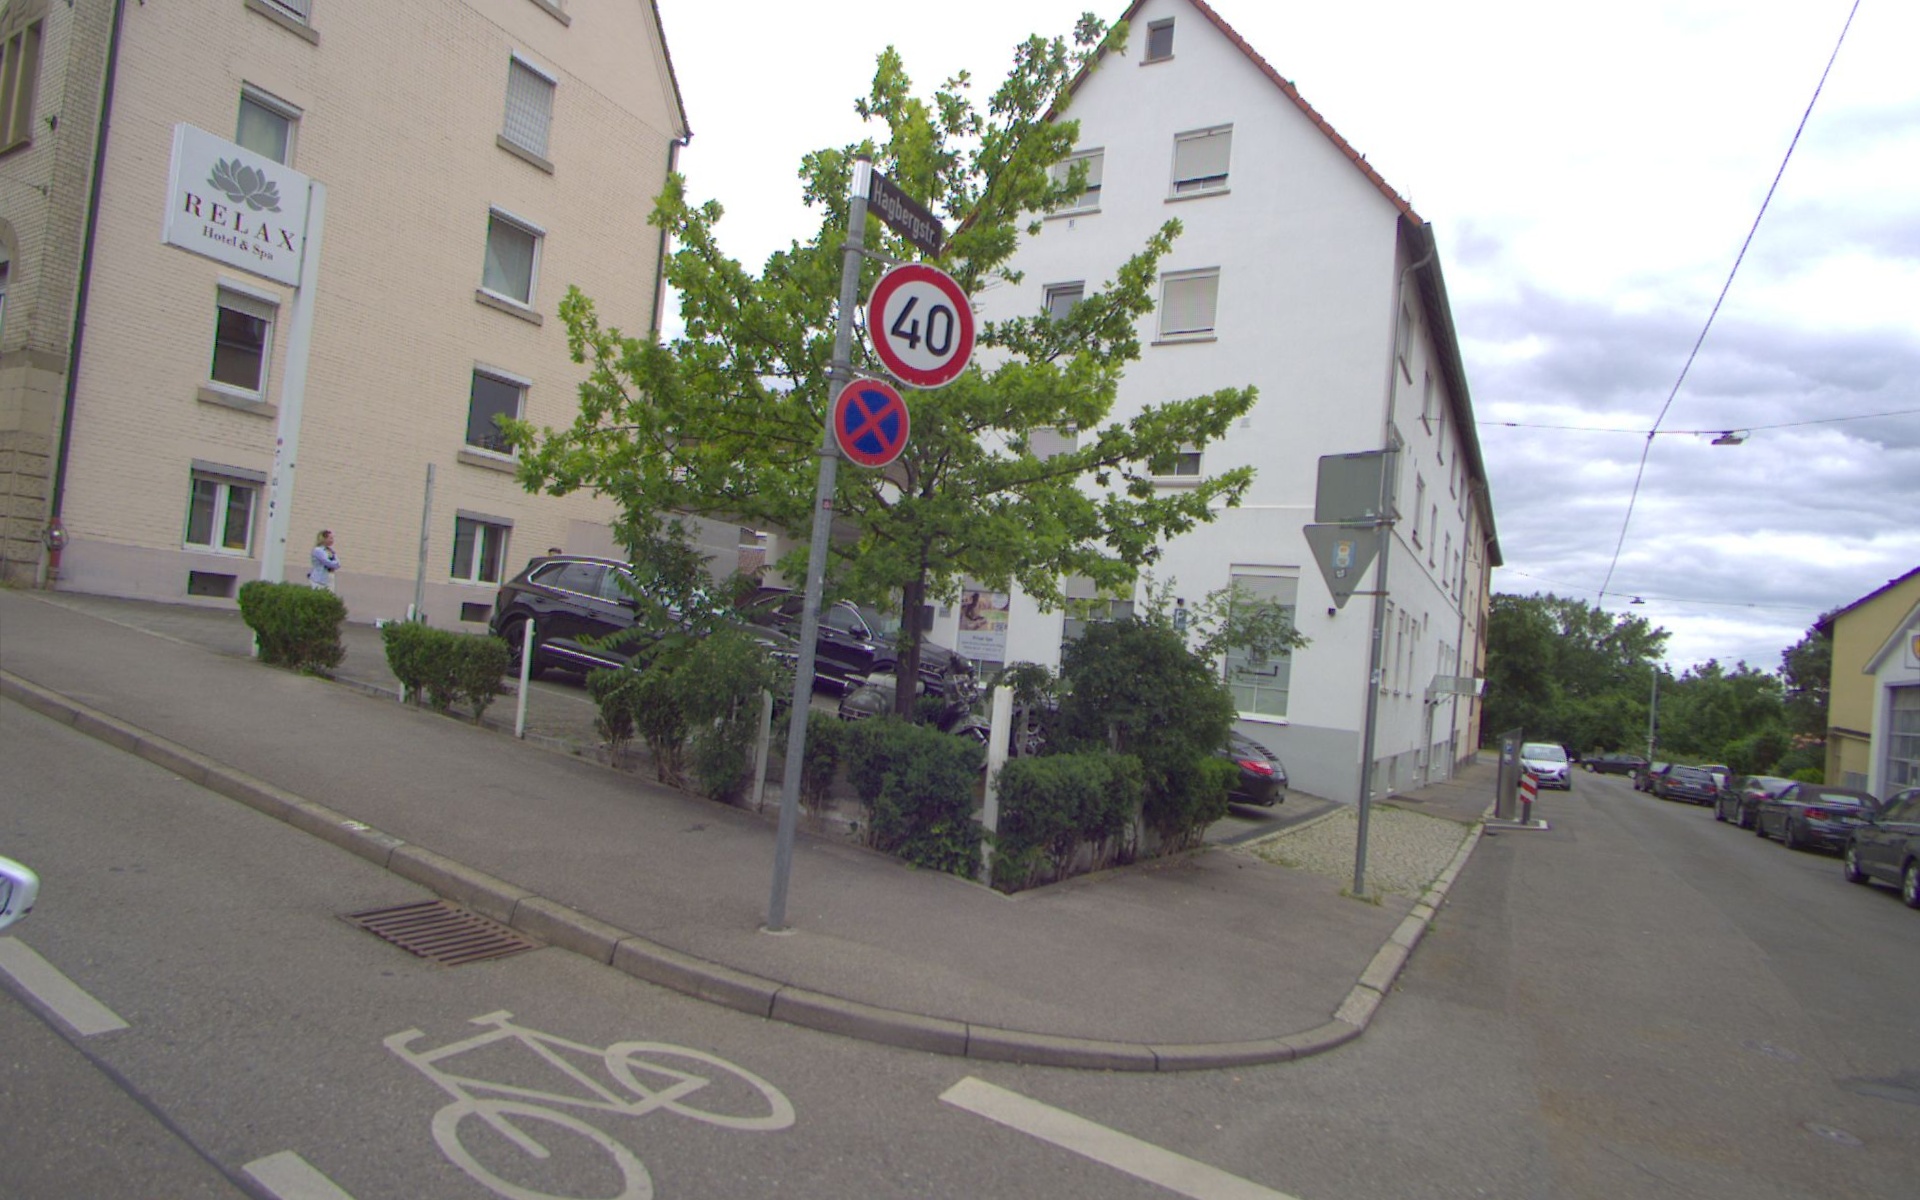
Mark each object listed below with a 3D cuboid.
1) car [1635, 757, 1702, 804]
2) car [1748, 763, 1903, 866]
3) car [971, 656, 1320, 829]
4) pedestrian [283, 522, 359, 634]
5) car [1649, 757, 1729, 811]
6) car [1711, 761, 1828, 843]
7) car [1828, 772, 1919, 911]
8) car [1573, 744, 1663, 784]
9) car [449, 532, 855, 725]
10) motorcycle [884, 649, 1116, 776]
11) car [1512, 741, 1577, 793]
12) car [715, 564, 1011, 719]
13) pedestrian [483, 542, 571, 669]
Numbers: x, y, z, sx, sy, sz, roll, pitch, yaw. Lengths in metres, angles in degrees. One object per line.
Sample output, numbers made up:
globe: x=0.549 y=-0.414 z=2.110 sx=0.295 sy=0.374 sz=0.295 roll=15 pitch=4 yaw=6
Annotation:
car: x=31.961 y=8.118 z=45.481 sx=1.828 sy=1.599 sz=3.987 roll=8 pitch=-3 yaw=29
car: x=18.630 y=4.553 z=21.844 sx=1.553 sy=1.599 sz=3.987 roll=8 pitch=-3 yaw=29
car: x=2.551 y=1.883 z=14.019 sx=4.252 sy=1.369 sz=1.916 roll=10 pitch=-1 yaw=30
pedestrian: x=-9.838 y=-0.331 z=15.498 sx=0.674 sy=1.600 sz=0.559 roll=8 pitch=-1 yaw=31
car: x=28.971 y=7.271 z=40.119 sx=1.828 sy=1.599 sz=4.392 roll=8 pitch=-3 yaw=29
car: x=21.433 y=5.293 z=26.799 sx=1.553 sy=1.599 sz=3.987 roll=8 pitch=-3 yaw=29
car: x=13.638 y=3.398 z=13.850 sx=1.553 sy=1.599 sz=3.987 roll=8 pitch=-3 yaw=29
car: x=42.173 y=10.499 z=64.555 sx=1.847 sy=1.599 sz=4.370 roll=10 pitch=-3 yaw=-37
car: x=-4.097 y=0.332 z=13.157 sx=5.007 sy=1.702 sz=1.999 roll=8 pitch=-1 yaw=29
motorcycle: x=0.428 y=1.225 z=11.210 sx=2.345 sy=1.116 sz=0.930 roll=3 pitch=-4 yaw=30
car: x=21.948 y=6.219 z=37.882 sx=1.792 sy=1.480 sz=3.859 roll=8 pitch=-3 yaw=28
car: x=-1.724 y=0.704 z=17.487 sx=4.623 sy=1.933 sz=1.999 roll=8 pitch=-1 yaw=30
pedestrian: x=-6.337 y=0.085 z=14.734 sx=0.755 sy=1.727 sz=0.646 roll=8 pitch=-1 yaw=31
